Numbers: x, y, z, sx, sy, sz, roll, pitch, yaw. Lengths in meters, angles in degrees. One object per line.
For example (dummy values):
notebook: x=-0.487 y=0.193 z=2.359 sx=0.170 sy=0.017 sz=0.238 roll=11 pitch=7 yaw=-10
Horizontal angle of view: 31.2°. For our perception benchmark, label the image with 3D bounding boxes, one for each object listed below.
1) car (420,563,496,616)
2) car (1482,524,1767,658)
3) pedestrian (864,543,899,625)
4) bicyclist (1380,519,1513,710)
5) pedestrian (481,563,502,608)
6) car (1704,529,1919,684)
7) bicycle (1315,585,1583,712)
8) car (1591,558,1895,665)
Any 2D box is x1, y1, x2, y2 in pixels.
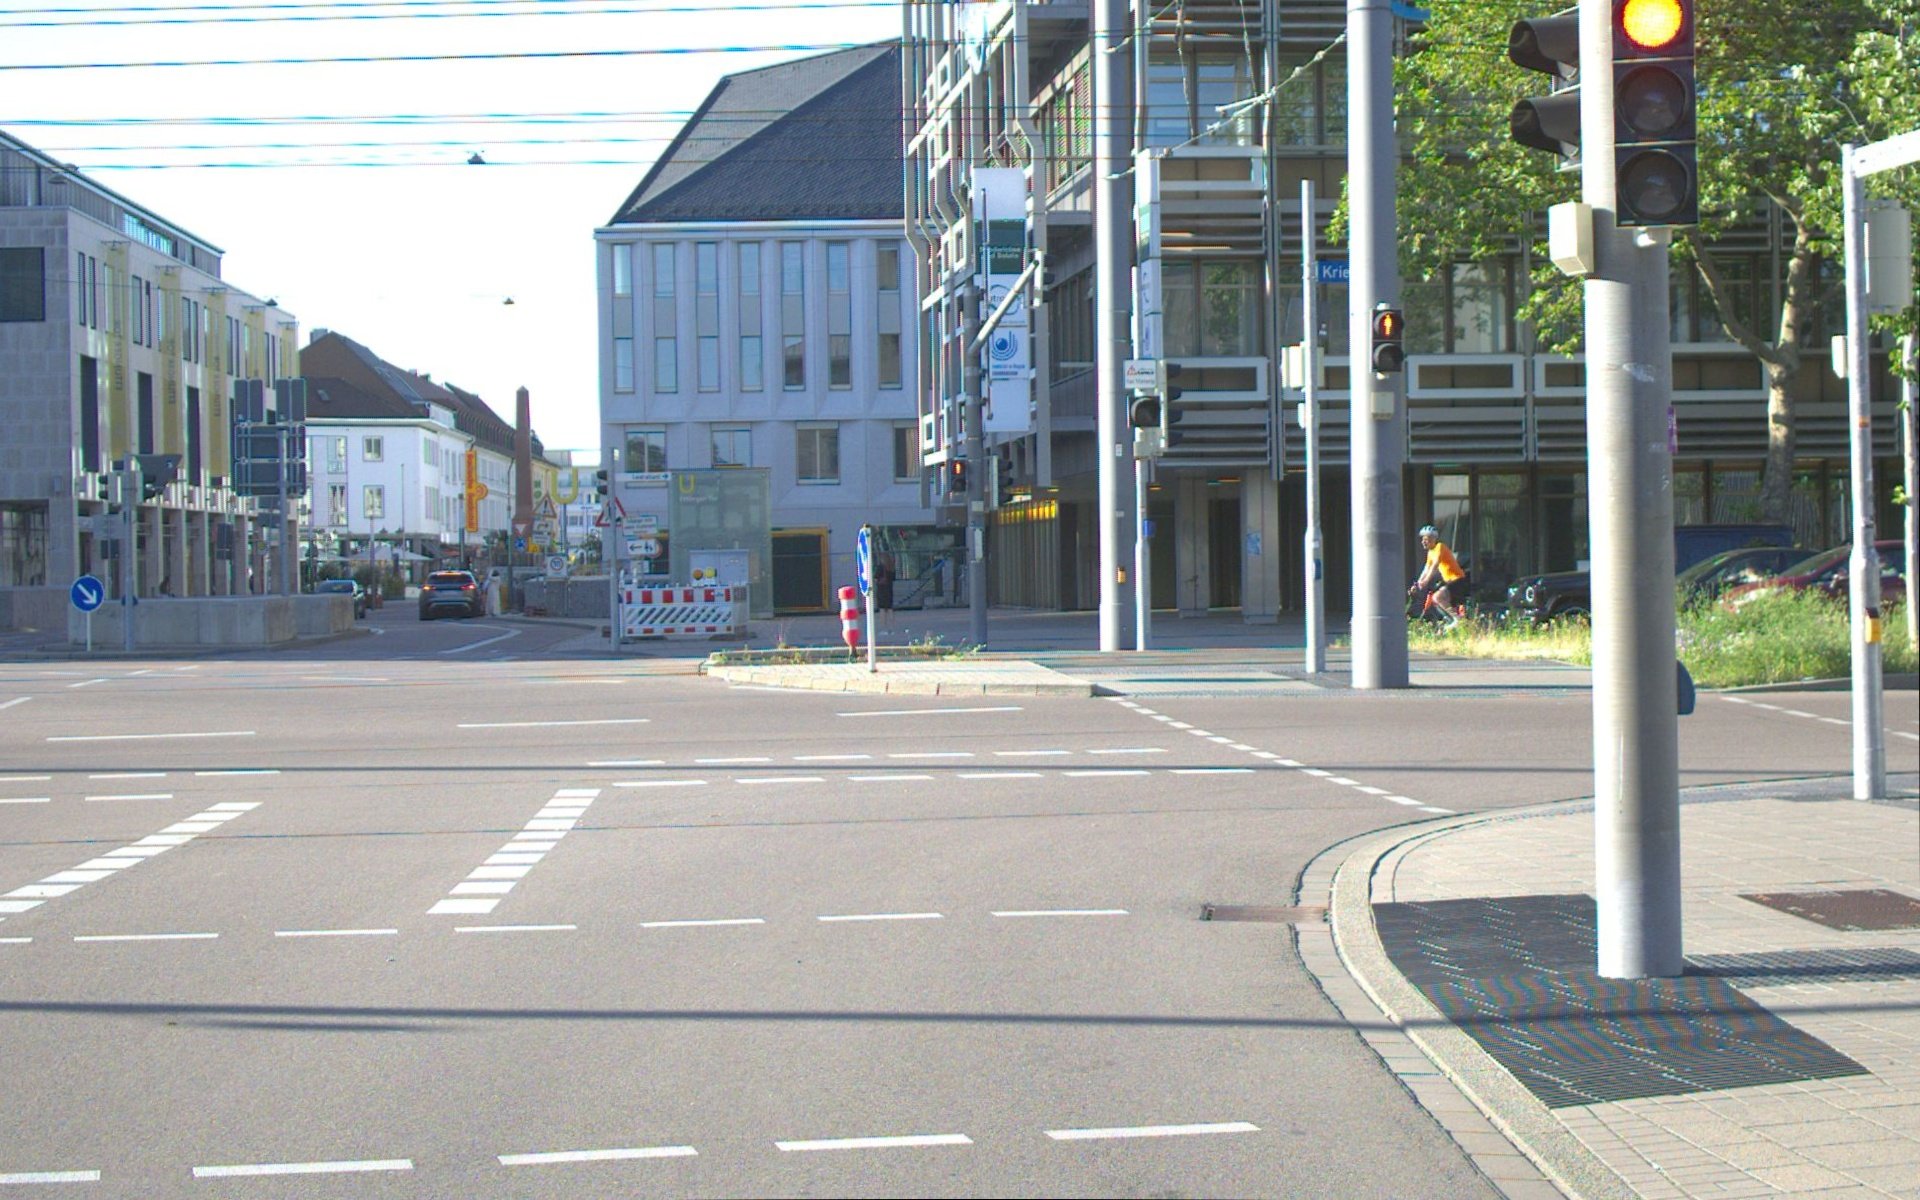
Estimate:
car: x=-15.804 y=-0.352 z=108.413 sx=2.199 sy=1.601 sz=4.327 roll=-1 pitch=1 yaw=-6
car: x=10.347 y=-0.143 z=53.767 sx=3.986 sy=2.007 sz=2.000 roll=1 pitch=0 yaw=-3
pedestrian: x=-1.589 y=-0.324 z=69.563 sx=0.663 sy=1.652 sz=0.755 roll=-1 pitch=1 yaw=-3
bicyclist: x=6.664 y=0.190 z=47.130 sx=1.567 sy=2.571 sz=0.932 roll=-1 pitch=1 yaw=-9
pedestrian: x=-14.749 y=-0.456 z=108.231 sx=0.609 sy=1.406 sz=0.570 roll=-1 pitch=1 yaw=-6
car: x=12.290 y=0.088 z=46.399 sx=3.986 sy=2.007 sz=2.000 roll=1 pitch=0 yaw=-3
bicycle: x=6.696 y=0.650 z=47.136 sx=3.490 sy=1.653 sz=0.932 roll=-1 pitch=1 yaw=-9
car: x=11.496 y=0.158 z=50.651 sx=3.986 sy=1.503 sz=1.868 roll=0 pitch=1 yaw=-3
